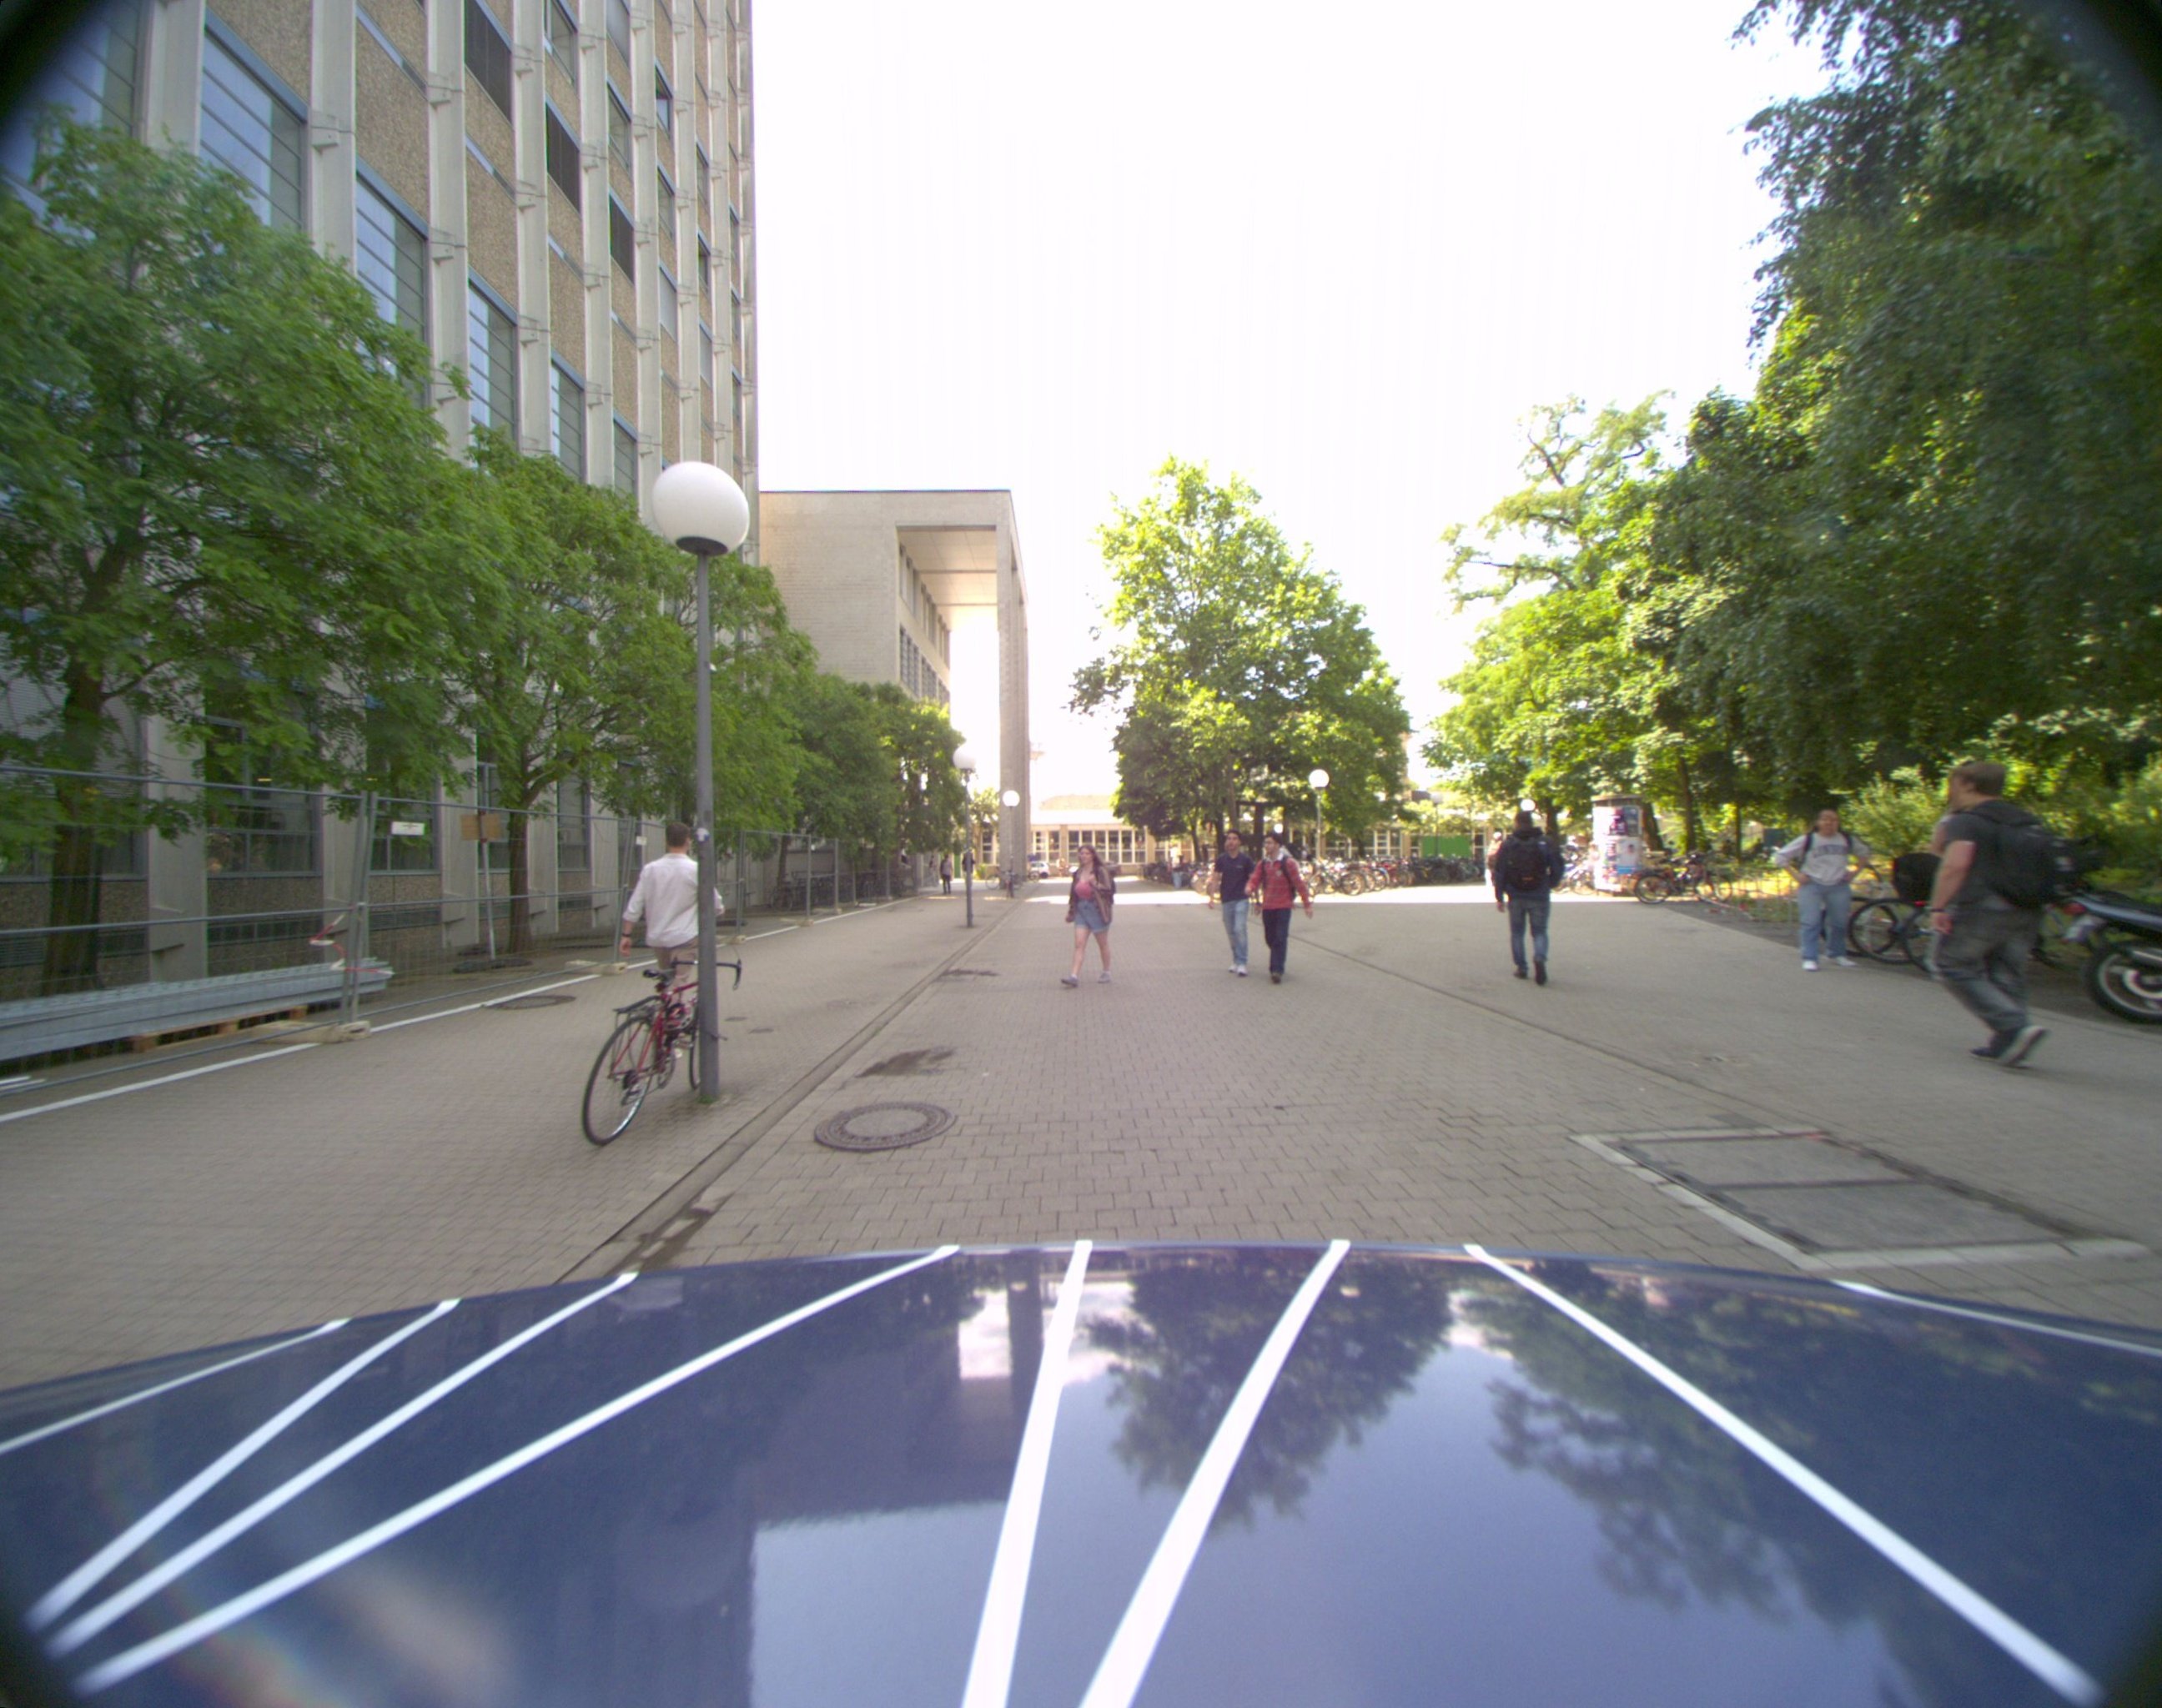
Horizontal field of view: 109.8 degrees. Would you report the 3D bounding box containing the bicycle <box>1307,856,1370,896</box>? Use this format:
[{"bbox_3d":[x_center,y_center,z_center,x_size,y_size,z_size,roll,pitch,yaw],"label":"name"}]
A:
[{"bbox_3d":[7.570,0.649,22.402,1.697,1.104,0.474,-1,1,12],"label":"bicycle"}]

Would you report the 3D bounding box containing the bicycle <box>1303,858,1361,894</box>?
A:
[{"bbox_3d":[7.917,0.697,23.943,1.696,1.077,0.475,-1,1,19],"label":"bicycle"}]

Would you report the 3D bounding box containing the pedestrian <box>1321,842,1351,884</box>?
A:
[{"bbox_3d":[10.529,0.379,31.427,0.904,1.693,0.771,-1,0,43],"label":"pedestrian"}]

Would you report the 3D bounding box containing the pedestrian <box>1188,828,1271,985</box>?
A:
[{"bbox_3d":[1.857,0.619,9.429,0.684,1.824,0.943,-1,0,34],"label":"pedestrian"}]

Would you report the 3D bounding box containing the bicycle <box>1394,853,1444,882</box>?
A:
[{"bbox_3d":[13.198,0.536,29.678,1.695,1.077,0.475,-1,1,35],"label":"bicycle"}]

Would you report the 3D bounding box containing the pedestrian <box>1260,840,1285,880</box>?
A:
[{"bbox_3d":[8.744,0.292,34.728,0.771,1.796,0.708,-2,0,-33],"label":"pedestrian"}]

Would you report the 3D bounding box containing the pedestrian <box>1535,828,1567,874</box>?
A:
[{"bbox_3d":[18.672,-0.126,30.189,0.884,1.804,0.832,-2,0,-40],"label":"pedestrian"}]

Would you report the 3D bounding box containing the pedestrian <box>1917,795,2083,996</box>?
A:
[{"bbox_3d":[8.519,0.364,7.060,0.679,1.714,0.935,0,0,-37],"label":"pedestrian"}]

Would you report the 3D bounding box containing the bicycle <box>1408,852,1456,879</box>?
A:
[{"bbox_3d":[14.280,0.487,30.918,1.695,1.077,0.475,-1,1,35],"label":"bicycle"}]

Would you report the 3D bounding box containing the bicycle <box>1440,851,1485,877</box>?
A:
[{"bbox_3d":[16.500,0.440,32.897,0.475,1.077,1.695,-2,1,-40],"label":"bicycle"}]

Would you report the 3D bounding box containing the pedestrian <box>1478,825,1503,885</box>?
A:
[{"bbox_3d":[12.744,0.039,23.645,0.612,1.825,1.052,-1,1,31],"label":"pedestrian"}]

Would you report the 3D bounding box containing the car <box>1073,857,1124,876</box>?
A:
[{"bbox_3d":[1.467,1.028,64.690,4.209,1.467,1.653,-1,1,-1],"label":"car"}]

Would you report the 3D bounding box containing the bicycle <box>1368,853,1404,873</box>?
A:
[{"bbox_3d":[16.969,0.490,42.301,0.503,1.101,1.902,-2,1,-31],"label":"bicycle"}]

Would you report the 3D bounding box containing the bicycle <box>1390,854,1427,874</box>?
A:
[{"bbox_3d":[18.810,0.565,43.664,0.503,1.101,2.001,-2,1,-31],"label":"bicycle"}]

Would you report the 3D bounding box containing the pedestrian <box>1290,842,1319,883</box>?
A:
[{"bbox_3d":[9.467,0.370,32.169,0.904,1.693,0.771,-1,0,36],"label":"pedestrian"}]

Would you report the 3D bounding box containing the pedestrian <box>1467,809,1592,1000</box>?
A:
[{"bbox_3d":[4.736,0.490,8.005,0.886,1.847,1.034,-2,1,43],"label":"pedestrian"}]

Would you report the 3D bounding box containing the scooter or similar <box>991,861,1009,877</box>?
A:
[{"bbox_3d":[-5.612,1.048,52.875,1.157,1.144,0.444,-1,0,4],"label":"scooter or similar"}]

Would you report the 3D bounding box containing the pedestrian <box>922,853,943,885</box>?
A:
[{"bbox_3d":[-8.441,0.841,43.093,0.961,1.803,0.768,-2,1,-26],"label":"pedestrian"}]

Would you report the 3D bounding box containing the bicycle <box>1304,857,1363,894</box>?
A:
[{"bbox_3d":[7.787,0.666,23.449,1.696,1.077,0.475,-1,1,19],"label":"bicycle"}]

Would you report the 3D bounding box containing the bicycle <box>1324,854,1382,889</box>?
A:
[{"bbox_3d":[8.835,0.567,24.702,1.695,1.077,0.475,-1,1,41],"label":"bicycle"}]

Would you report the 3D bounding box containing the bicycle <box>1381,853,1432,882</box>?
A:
[{"bbox_3d":[12.408,0.529,28.987,1.695,1.077,0.475,-1,1,35],"label":"bicycle"}]

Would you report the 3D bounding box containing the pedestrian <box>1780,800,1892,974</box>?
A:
[{"bbox_3d":[7.928,0.335,7.985,0.687,1.714,0.729,0,0,-37],"label":"pedestrian"}]

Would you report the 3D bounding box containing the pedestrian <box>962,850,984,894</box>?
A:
[{"bbox_3d":[-4.448,0.722,31.248,0.703,1.792,0.881,0,0,-18],"label":"pedestrian"}]

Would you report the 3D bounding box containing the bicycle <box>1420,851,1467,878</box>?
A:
[{"bbox_3d":[14.941,0.445,31.351,1.695,1.077,0.475,-1,1,42],"label":"bicycle"}]

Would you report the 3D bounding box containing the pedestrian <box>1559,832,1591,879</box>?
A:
[{"bbox_3d":[19.189,0.043,29.494,0.986,1.793,0.768,-2,0,-40],"label":"pedestrian"}]

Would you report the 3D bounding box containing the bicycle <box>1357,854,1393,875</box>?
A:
[{"bbox_3d":[16.037,0.556,41.471,0.503,1.101,1.902,-2,1,-34],"label":"bicycle"}]

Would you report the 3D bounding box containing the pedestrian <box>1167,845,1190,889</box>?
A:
[{"bbox_3d":[3.749,0.511,29.235,0.768,1.670,0.908,-1,0,13],"label":"pedestrian"}]

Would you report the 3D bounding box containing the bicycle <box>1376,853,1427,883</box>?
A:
[{"bbox_3d":[11.973,0.524,28.426,1.695,1.077,0.475,-1,1,35],"label":"bicycle"}]

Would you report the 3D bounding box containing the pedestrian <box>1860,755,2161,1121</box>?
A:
[{"bbox_3d":[5.490,0.418,4.447,0.684,1.862,1.120,-2,1,-5],"label":"pedestrian"}]

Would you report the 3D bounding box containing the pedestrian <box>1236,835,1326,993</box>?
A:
[{"bbox_3d":[2.356,0.662,8.886,0.717,1.714,1.067,-1,0,32],"label":"pedestrian"}]

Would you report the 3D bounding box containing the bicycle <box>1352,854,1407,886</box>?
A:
[{"bbox_3d":[10.353,0.572,26.404,1.695,1.077,0.475,-1,1,38],"label":"bicycle"}]

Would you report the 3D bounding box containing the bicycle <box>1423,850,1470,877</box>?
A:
[{"bbox_3d":[15.274,0.400,31.768,1.695,1.077,0.475,-1,1,42],"label":"bicycle"}]

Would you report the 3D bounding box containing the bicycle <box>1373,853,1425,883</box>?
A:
[{"bbox_3d":[11.711,0.529,27.991,1.695,1.077,0.475,-1,1,35],"label":"bicycle"}]

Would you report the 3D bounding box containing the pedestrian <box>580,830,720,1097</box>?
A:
[{"bbox_3d":[-3.294,0.760,5.922,0.786,1.834,1.116,-2,1,-25],"label":"pedestrian"}]

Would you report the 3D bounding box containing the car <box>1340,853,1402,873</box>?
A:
[{"bbox_3d":[24.766,0.785,64.959,4.536,1.608,1.837,-1,1,-3],"label":"car"}]

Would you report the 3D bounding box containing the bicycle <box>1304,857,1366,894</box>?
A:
[{"bbox_3d":[7.643,0.653,22.929,1.721,1.077,0.474,-1,1,14],"label":"bicycle"}]

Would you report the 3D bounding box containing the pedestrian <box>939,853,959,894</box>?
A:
[{"bbox_3d":[-5.425,0.801,31.192,0.703,1.645,0.881,0,0,-18],"label":"pedestrian"}]

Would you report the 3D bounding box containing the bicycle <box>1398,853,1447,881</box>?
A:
[{"bbox_3d":[13.522,0.529,30.094,1.695,1.077,0.475,-1,1,35],"label":"bicycle"}]

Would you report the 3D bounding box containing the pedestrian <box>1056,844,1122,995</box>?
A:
[{"bbox_3d":[0.081,0.755,9.093,0.686,1.714,0.731,-2,1,-2],"label":"pedestrian"}]

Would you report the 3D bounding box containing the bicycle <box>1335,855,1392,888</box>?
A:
[{"bbox_3d":[9.503,0.588,25.598,1.695,1.077,0.475,-1,1,41],"label":"bicycle"}]

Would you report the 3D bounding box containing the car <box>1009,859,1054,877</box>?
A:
[{"bbox_3d":[-4.168,1.172,64.472,3.777,1.468,1.653,0,2,-1],"label":"car"}]

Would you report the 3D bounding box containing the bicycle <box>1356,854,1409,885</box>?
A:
[{"bbox_3d":[10.830,0.575,27.309,1.695,1.077,0.475,-1,1,35],"label":"bicycle"}]

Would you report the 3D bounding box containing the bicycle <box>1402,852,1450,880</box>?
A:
[{"bbox_3d":[13.836,0.480,30.494,1.695,1.077,0.475,-1,1,35],"label":"bicycle"}]

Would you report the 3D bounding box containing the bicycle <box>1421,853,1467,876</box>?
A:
[{"bbox_3d":[15.503,0.444,32.486,0.453,0.956,1.735,-2,1,-40],"label":"bicycle"}]

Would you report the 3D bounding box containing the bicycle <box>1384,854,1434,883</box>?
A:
[{"bbox_3d":[12.673,0.577,29.390,1.695,1.077,0.475,-1,1,35],"label":"bicycle"}]

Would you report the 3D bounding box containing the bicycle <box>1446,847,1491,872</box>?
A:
[{"bbox_3d":[17.059,0.236,33.493,0.475,1.077,1.695,-2,1,-40],"label":"bicycle"}]

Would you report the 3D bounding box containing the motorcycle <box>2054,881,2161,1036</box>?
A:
[{"bbox_3d":[8.007,0.695,4.922,2.020,1.041,0.475,-3,0,42],"label":"motorcycle"}]
